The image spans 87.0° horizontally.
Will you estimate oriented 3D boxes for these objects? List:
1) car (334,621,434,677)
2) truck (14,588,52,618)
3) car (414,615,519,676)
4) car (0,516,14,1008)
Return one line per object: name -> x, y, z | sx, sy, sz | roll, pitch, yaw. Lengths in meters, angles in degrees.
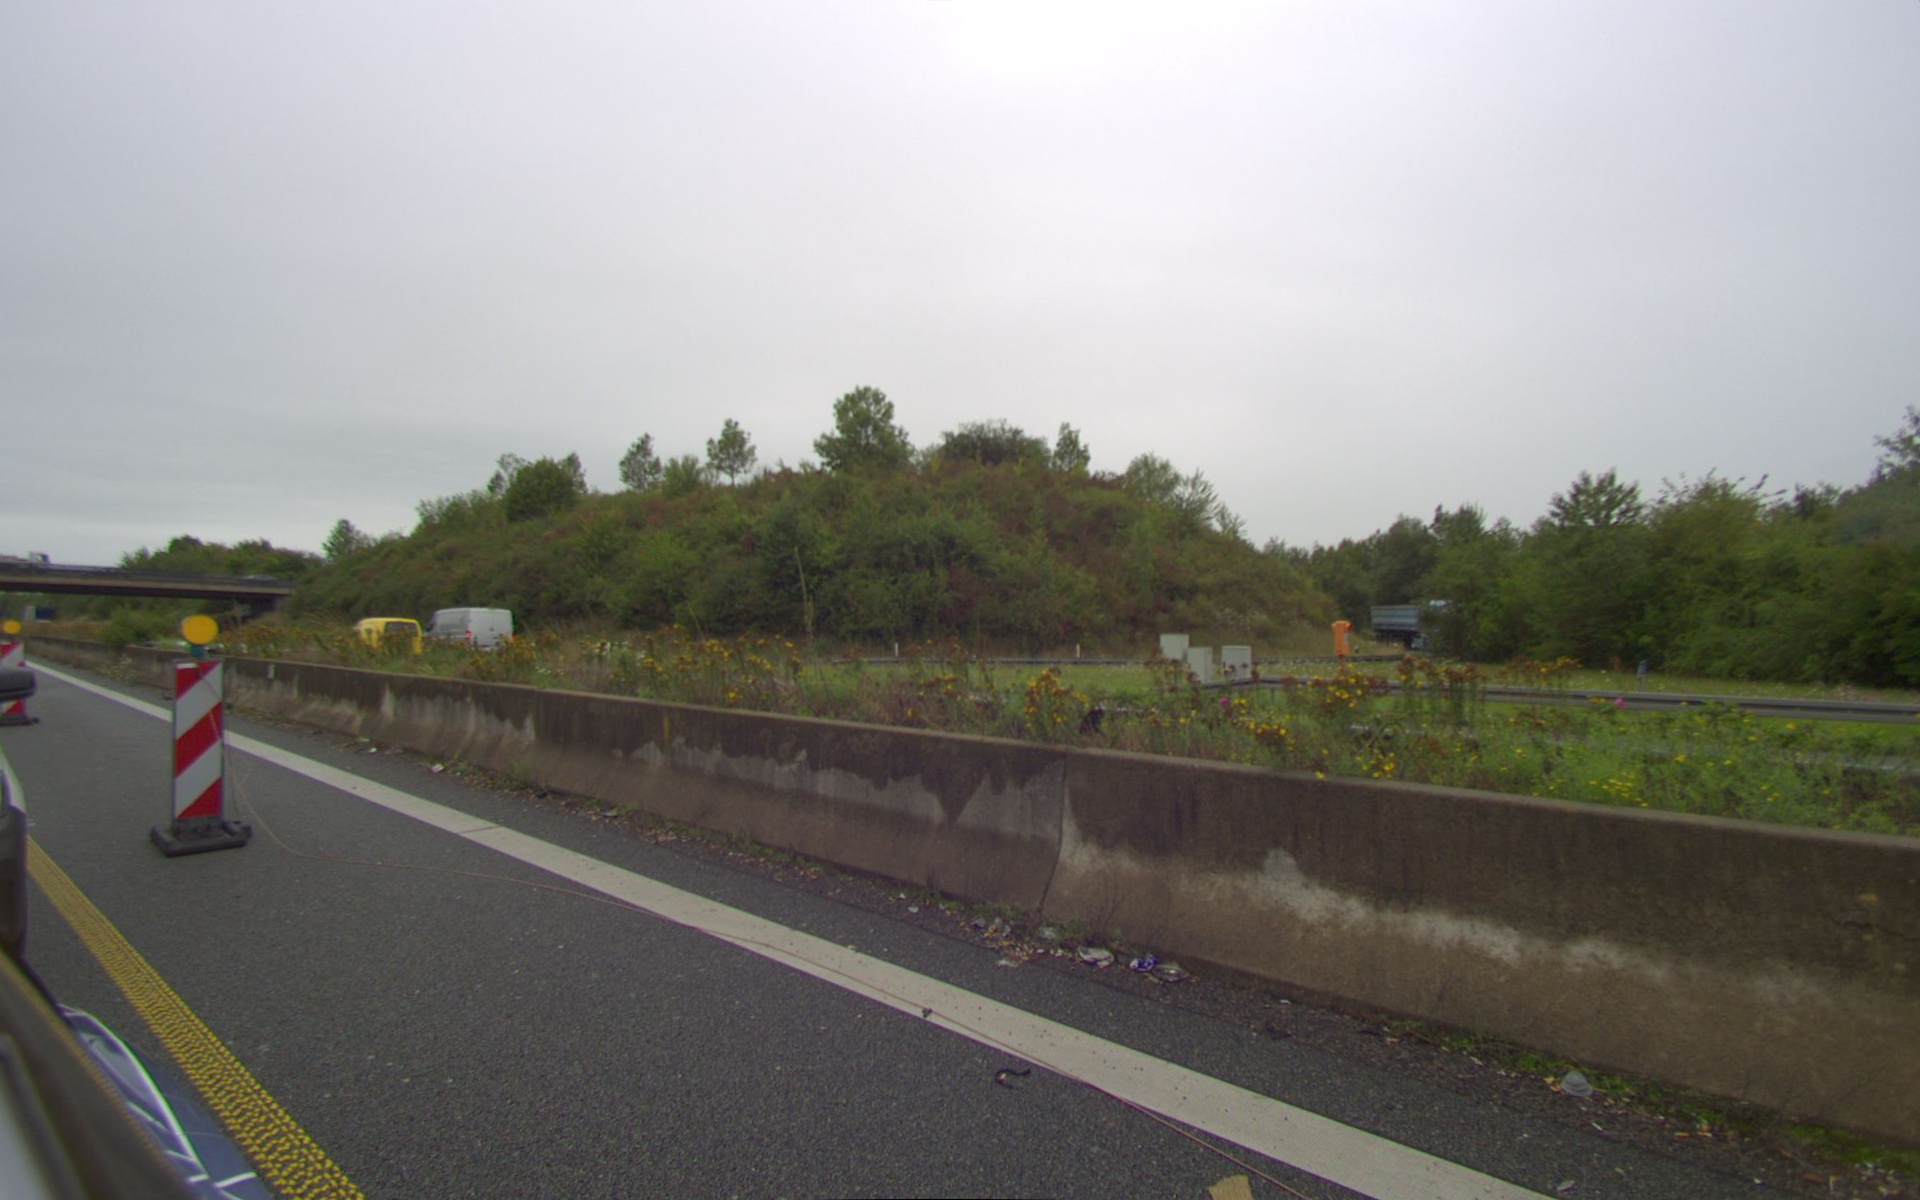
car -> -22.408, 1.877, 39.275 | 4.777, 2.063, 1.972 | -2, -3, 42
truck -> -150.140, 0.558, 163.785 | 17.291, 4.558, 3.369 | 0, -1, 44
car -> -21.365, 1.945, 43.690 | 5.884, 2.459, 2.214 | -2, -3, 44
car -> -5.811, 0.643, 4.595 | 4.645, 1.798, 1.747 | -1, -1, 41
